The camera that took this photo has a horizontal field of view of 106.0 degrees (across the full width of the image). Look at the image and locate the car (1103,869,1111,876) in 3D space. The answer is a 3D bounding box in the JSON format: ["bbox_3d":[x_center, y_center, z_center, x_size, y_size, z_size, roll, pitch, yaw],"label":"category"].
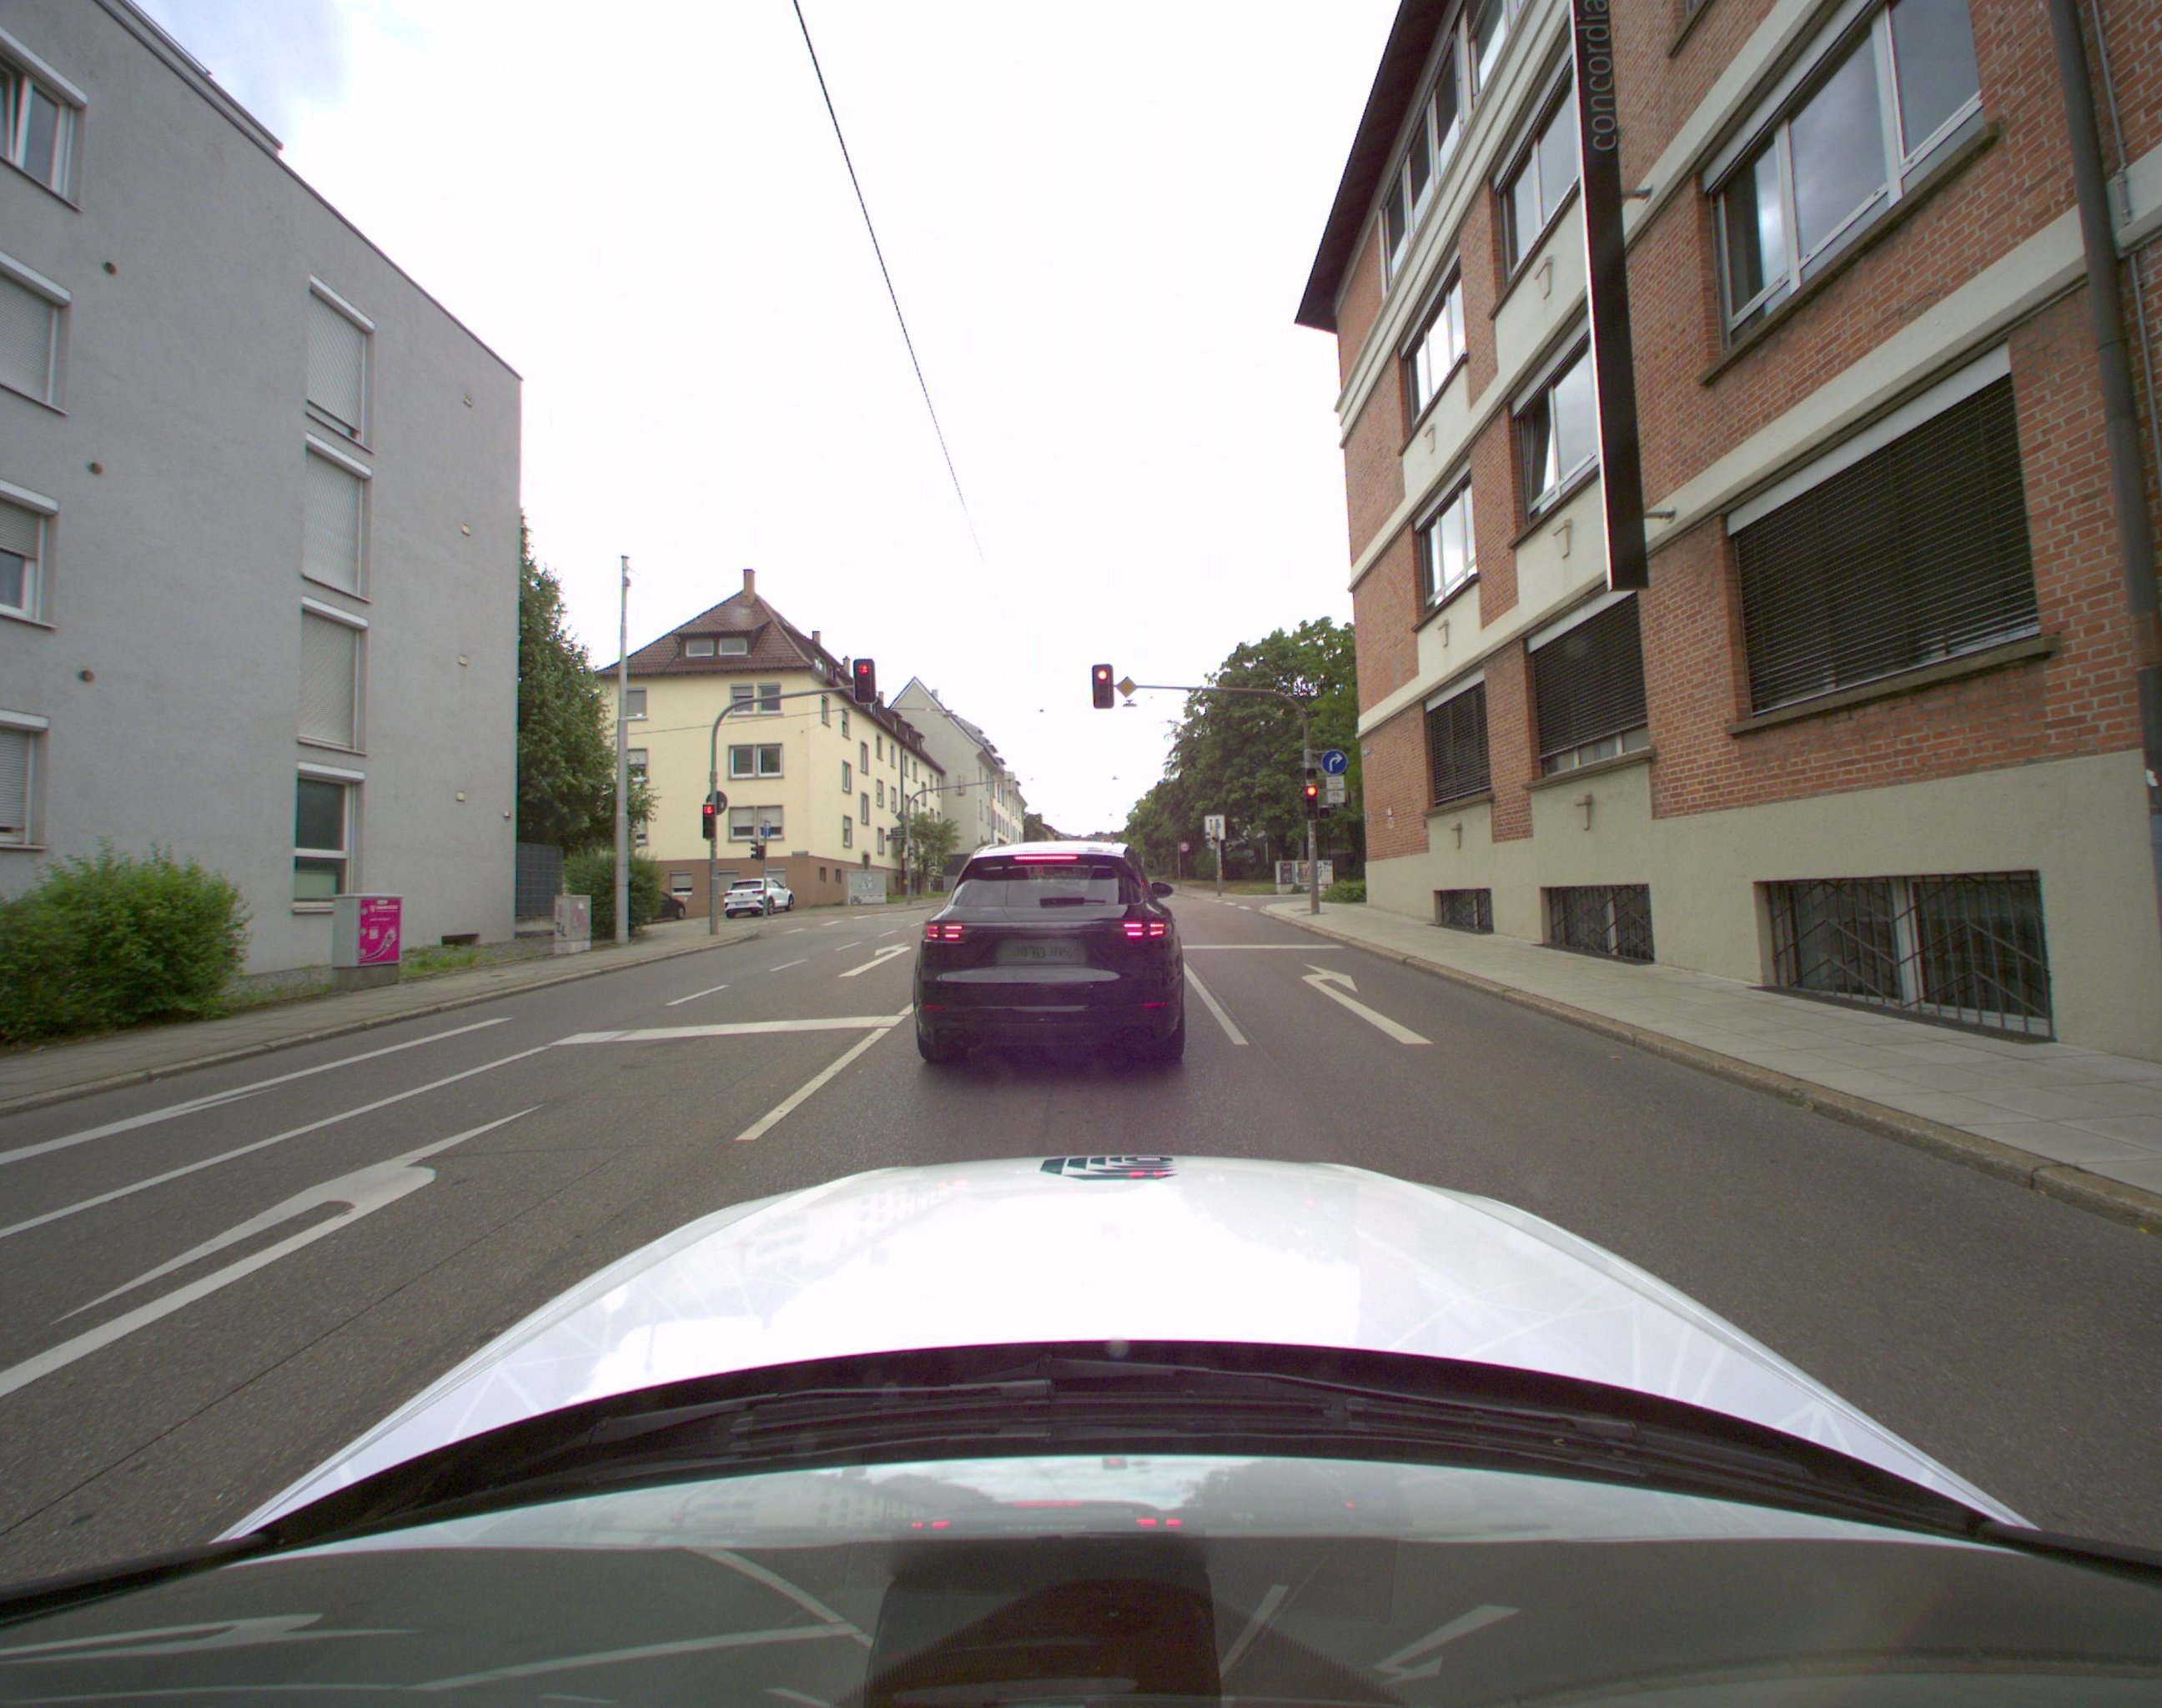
[{"bbox_3d":[5.916,4.125,182.533,1.820,1.605,4.137,0,0,2],"label":"car"}]

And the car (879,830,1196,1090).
[{"bbox_3d":[-0.203,0.687,7.373,2.040,1.666,4.269,0,0,2],"label":"car"}]

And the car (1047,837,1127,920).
[{"bbox_3d":[0.221,0.602,22.024,1.957,2.042,4.137,0,0,2],"label":"car"}]

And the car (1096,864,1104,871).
[{"bbox_3d":[4.714,3.289,203.056,1.820,1.605,4.137,0,0,2],"label":"car"}]

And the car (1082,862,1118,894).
[{"bbox_3d":[1.054,1.272,43.932,1.820,1.605,4.137,0,0,2],"label":"car"}]

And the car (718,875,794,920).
[{"bbox_3d":[-13.535,1.774,34.183,1.686,1.555,3.763,-4,0,-2],"label":"car"}]

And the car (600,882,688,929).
[{"bbox_3d":[-18.499,2.138,34.648,1.686,1.608,3.763,-4,0,-2],"label":"car"}]

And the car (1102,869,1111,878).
[{"bbox_3d":[5.073,3.894,163.367,1.820,1.605,4.137,0,0,2],"label":"car"}]

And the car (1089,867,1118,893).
[{"bbox_3d":[1.471,1.650,52.640,1.820,1.605,3.860,0,0,2],"label":"car"}]

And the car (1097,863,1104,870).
[{"bbox_3d":[5.135,3.264,210.378,1.820,1.605,4.137,0,0,2],"label":"car"}]
